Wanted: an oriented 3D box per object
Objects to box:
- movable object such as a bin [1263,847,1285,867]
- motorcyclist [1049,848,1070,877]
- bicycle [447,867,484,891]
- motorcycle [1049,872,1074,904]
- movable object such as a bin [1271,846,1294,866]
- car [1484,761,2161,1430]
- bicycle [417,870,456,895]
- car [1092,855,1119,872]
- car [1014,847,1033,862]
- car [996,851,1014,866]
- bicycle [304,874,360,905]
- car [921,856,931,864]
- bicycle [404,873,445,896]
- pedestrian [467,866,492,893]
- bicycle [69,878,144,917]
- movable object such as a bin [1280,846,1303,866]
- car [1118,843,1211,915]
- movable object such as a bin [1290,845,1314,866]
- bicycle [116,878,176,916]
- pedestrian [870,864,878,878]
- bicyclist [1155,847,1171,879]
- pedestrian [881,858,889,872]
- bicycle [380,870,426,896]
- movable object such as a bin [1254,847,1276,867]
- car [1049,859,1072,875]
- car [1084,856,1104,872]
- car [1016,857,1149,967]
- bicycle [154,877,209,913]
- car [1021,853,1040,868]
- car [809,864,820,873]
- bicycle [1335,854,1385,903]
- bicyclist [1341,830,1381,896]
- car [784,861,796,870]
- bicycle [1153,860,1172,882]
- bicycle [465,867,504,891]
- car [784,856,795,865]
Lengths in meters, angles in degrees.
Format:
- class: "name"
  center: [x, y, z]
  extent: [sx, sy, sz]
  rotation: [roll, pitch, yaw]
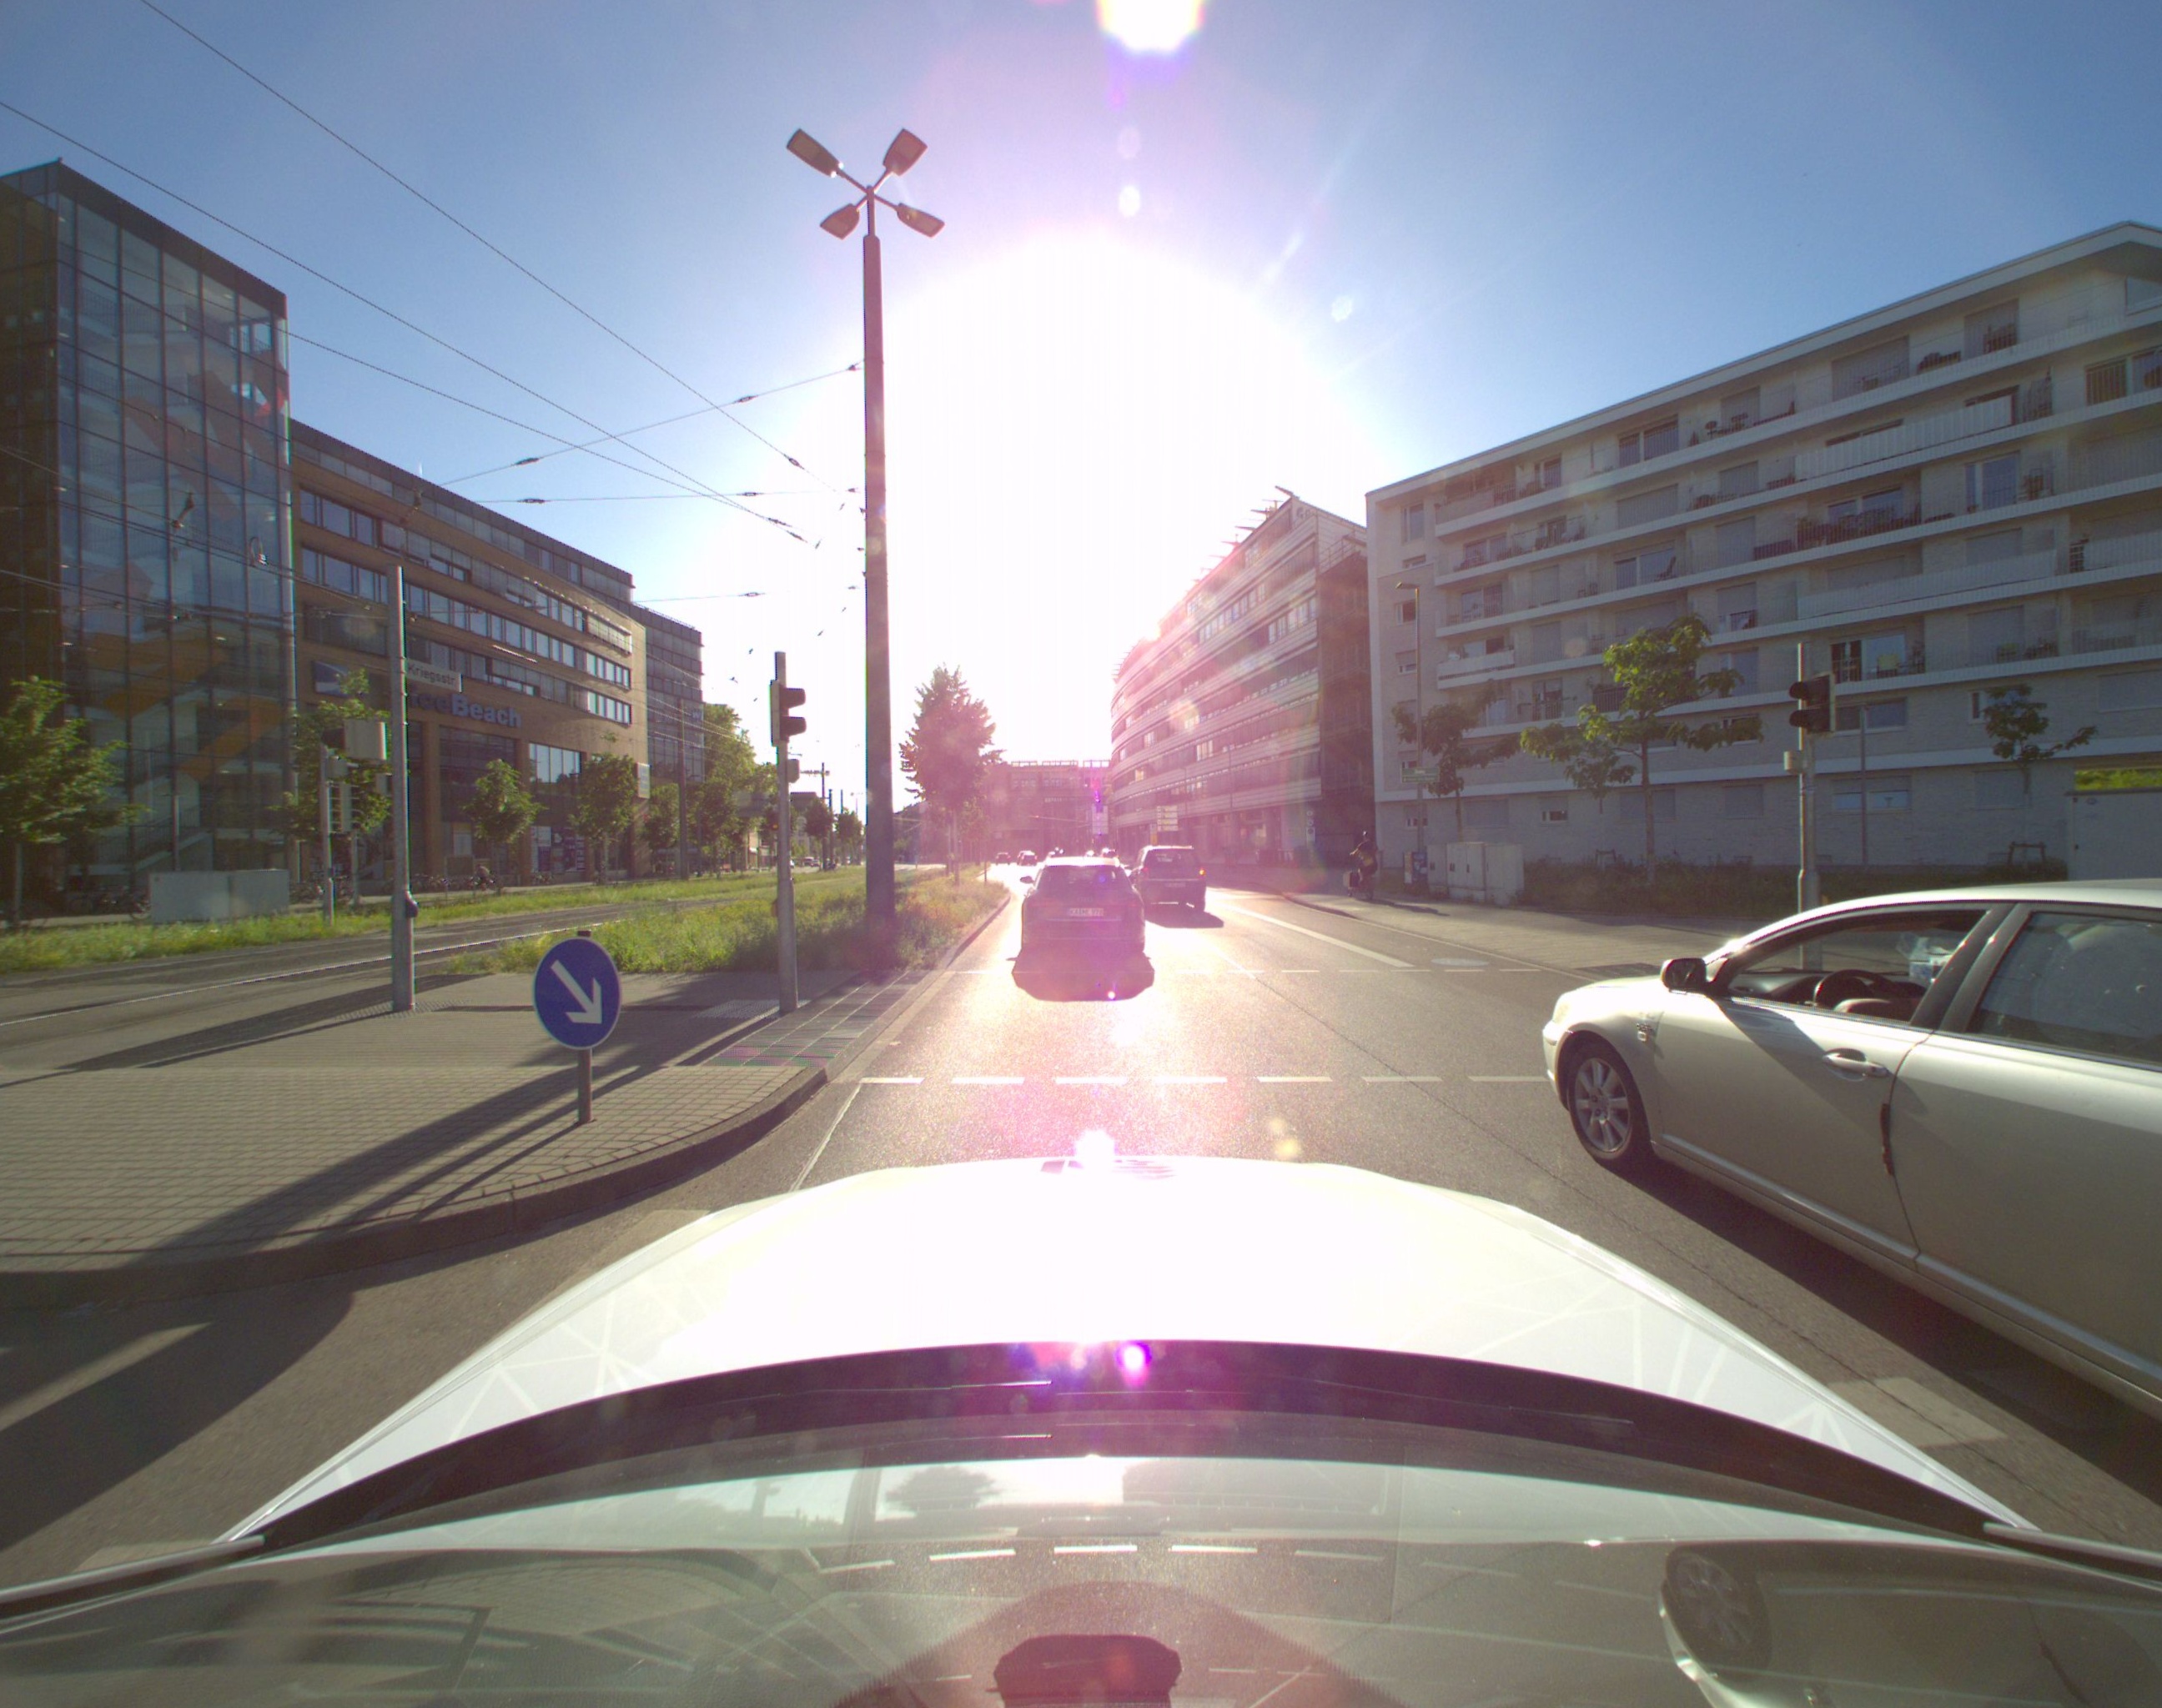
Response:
- class: "movable object such as a bin"
  center: [13.326, 0.192, 56.278]
  extent: [1.062, 1.332, 1.118]
  rotation: [-2, -1, -17]
- class: "motorcyclist"
  center: [-0.993, 0.376, 38.225]
  extent: [0.863, 1.326, 0.678]
  rotation: [-1, 0, -12]
- class: "bicycle"
  center: [-38.797, 1.584, 51.363]
  extent: [2.120, 1.433, 0.762]
  rotation: [-2, -1, 19]
- class: "motorcycle"
  center: [-0.931, 1.573, 38.107]
  extent: [0.863, 1.393, 1.886]
  rotation: [-1, 0, -12]
- class: "movable object such as a bin"
  center: [13.653, 0.156, 55.201]
  extent: [1.062, 1.332, 1.118]
  rotation: [-2, -1, -17]
- class: "car"
  center: [3.294, 0.520, 2.738]
  extent: [1.739, 1.481, 4.631]
  rotation: [-1, 0, 2]
- class: "bicycle"
  center: [-39.057, 1.704, 49.323]
  extent: [2.227, 1.433, 0.722]
  rotation: [-2, -1, 19]
- class: "car"
  center: [2.517, 0.959, 83.731]
  extent: [2.002, 1.715, 4.359]
  rotation: [0, 1, -9]
- class: "car"
  center: [-6.976, 0.113, 98.285]
  extent: [1.992, 1.706, 3.989]
  rotation: [-2, -1, -8]
- class: "car"
  center: [-9.176, 0.539, 97.758]
  extent: [1.992, 1.706, 3.989]
  rotation: [-2, -1, -8]
- class: "bicycle"
  center: [-36.841, 1.746, 40.045]
  extent: [2.541, 1.433, 0.909]
  rotation: [-2, -1, 19]
- class: "car"
  center: [-37.350, 1.507, 195.647]
  extent: [1.997, 1.706, 3.979]
  rotation: [-2, -1, -15]
- class: "bicycle"
  center: [-39.065, 1.824, 48.458]
  extent: [2.394, 1.236, 0.748]
  rotation: [-2, -1, 19]
- class: "pedestrian"
  center: [-37.303, 1.585, 50.499]
  extent: [0.811, 1.587, 0.970]
  rotation: [-1, 0, 1]
- class: "bicycle"
  center: [-38.167, 1.705, 31.910]
  extent: [2.350, 1.433, 1.082]
  rotation: [-2, -1, 19]
- class: "movable object such as a bin"
  center: [13.983, 0.136, 54.112]
  extent: [1.062, 1.332, 1.118]
  rotation: [-2, -1, -17]
- class: "car"
  center: [2.109, 0.602, 21.681]
  extent: [1.742, 1.696, 4.255]
  rotation: [1, 0, -4]
- class: "movable object such as a bin"
  center: [14.336, 0.103, 52.898]
  extent: [1.062, 1.332, 1.118]
  rotation: [-2, -1, -17]
- class: "bicycle"
  center: [-37.809, 1.742, 32.939]
  extent: [2.066, 1.433, 0.865]
  rotation: [-2, -1, 19]
- class: "pedestrian"
  center: [-26.671, 2.195, 104.848]
  extent: [0.901, 1.824, 0.827]
  rotation: [-2, -2, -7]
- class: "bicyclist"
  center: [4.174, 0.450, 41.602]
  extent: [0.649, 1.642, 0.975]
  rotation: [-1, 0, 13]
- class: "pedestrian"
  center: [-25.081, 1.407, 104.283]
  extent: [0.901, 1.824, 0.827]
  rotation: [-2, -2, -7]
- class: "bicycle"
  center: [-39.170, 1.684, 47.022]
  extent: [2.585, 1.433, 0.775]
  rotation: [-2, -1, 19]
- class: "movable object such as a bin"
  center: [12.969, 0.201, 57.341]
  extent: [1.062, 1.332, 1.118]
  rotation: [-2, -1, -17]
- class: "car"
  center: [-2.282, 1.381, 88.555]
  extent: [1.992, 1.596, 3.988]
  rotation: [-2, -1, -8]
- class: "car"
  center: [1.552, 1.223, 100.486]
  extent: [1.990, 1.838, 3.993]
  rotation: [-2, -1, -5]
- class: "car"
  center: [0.018, 0.818, 13.289]
  extent: [1.836, 1.454, 3.999]
  rotation: [0, 1, 0]
- class: "bicycle"
  center: [-37.566, 1.711, 34.027]
  extent: [1.961, 1.433, 0.811]
  rotation: [-2, -1, 19]
- class: "car"
  center: [-5.698, 0.749, 91.619]
  extent: [1.990, 1.596, 3.993]
  rotation: [-2, -1, -5]
- class: "car"
  center: [-53.854, 2.848, 164.752]
  extent: [1.999, 1.684, 3.975]
  rotation: [-2, 0, -18]
- class: "bicycle"
  center: [7.525, 0.632, 22.079]
  extent: [0.762, 1.262, 2.084]
  rotation: [-1, 0, 4]
- class: "bicyclist"
  center: [7.493, 0.245, 21.814]
  extent: [0.762, 1.706, 0.931]
  rotation: [-1, 0, 4]
- class: "car"
  center: [-57.809, 2.341, 161.697]
  extent: [1.999, 1.684, 3.975]
  rotation: [-2, 0, -18]
- class: "bicycle"
  center: [4.182, 0.879, 41.602]
  extent: [0.649, 1.043, 1.937]
  rotation: [-1, 0, 14]
- class: "bicycle"
  center: [-38.459, 1.602, 52.491]
  extent: [2.400, 1.433, 0.792]
  rotation: [-2, -1, 19]
- class: "car"
  center: [-73.122, 1.585, 204.180]
  extent: [1.996, 2.013, 3.982]
  rotation: [-2, 1, -13]
